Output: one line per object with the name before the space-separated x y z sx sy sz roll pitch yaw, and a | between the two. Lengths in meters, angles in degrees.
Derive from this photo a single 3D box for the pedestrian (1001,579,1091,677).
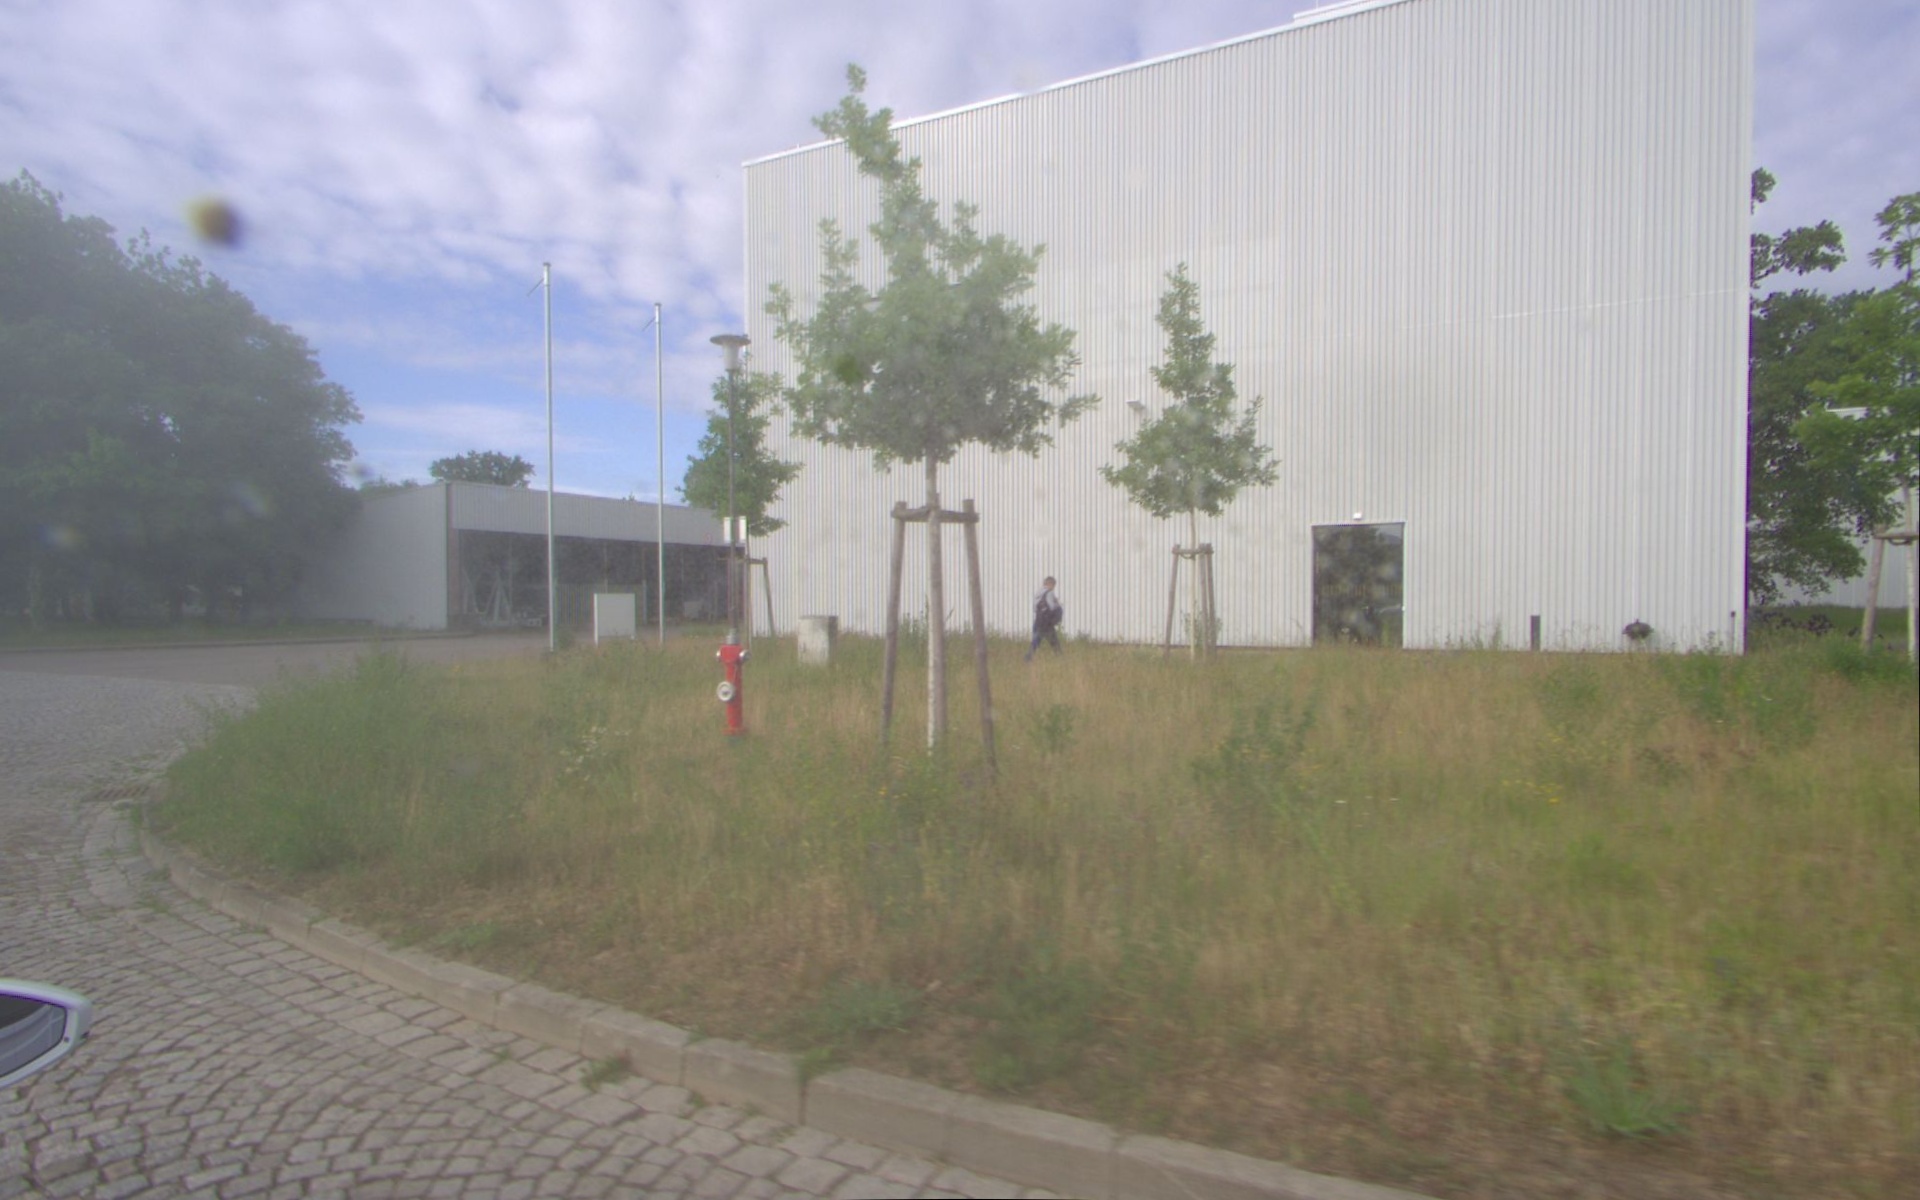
pedestrian | 1.445 0.455 16.864 1.066 1.577 1.066 -1 1 -39

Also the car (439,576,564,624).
car | -20.371 0.006 44.492 5.251 2.041 2.240 0 1 26
